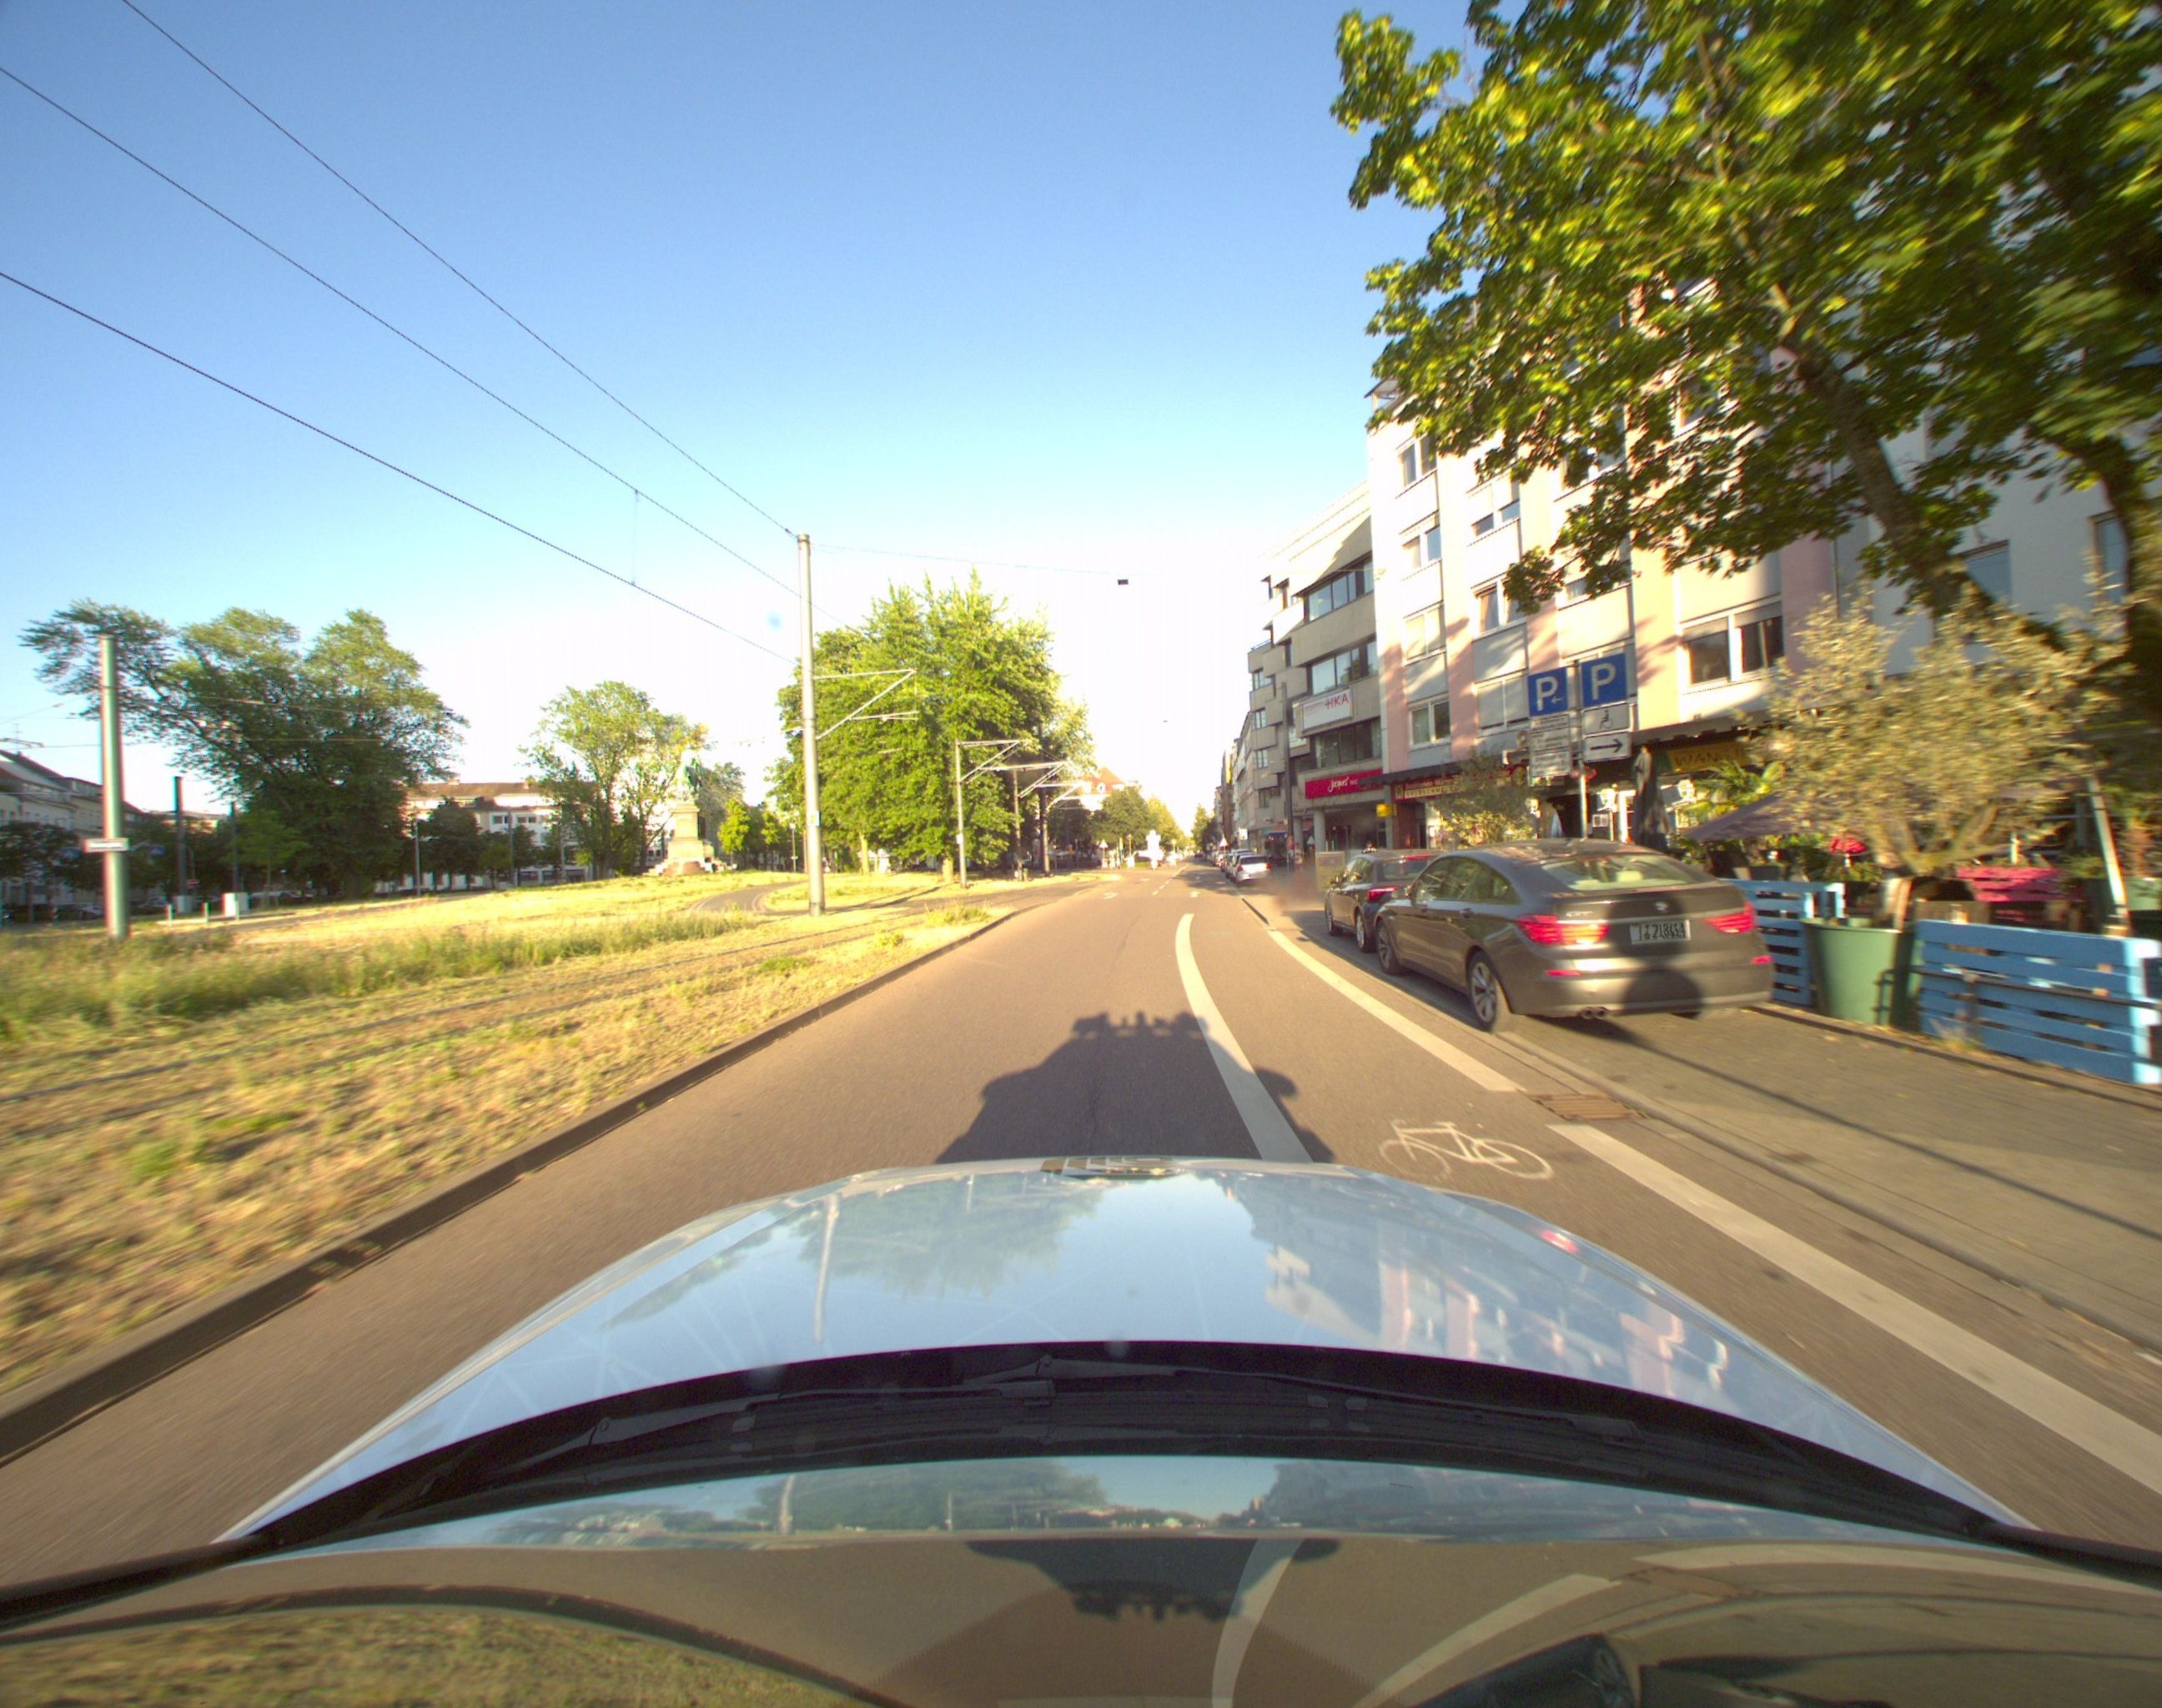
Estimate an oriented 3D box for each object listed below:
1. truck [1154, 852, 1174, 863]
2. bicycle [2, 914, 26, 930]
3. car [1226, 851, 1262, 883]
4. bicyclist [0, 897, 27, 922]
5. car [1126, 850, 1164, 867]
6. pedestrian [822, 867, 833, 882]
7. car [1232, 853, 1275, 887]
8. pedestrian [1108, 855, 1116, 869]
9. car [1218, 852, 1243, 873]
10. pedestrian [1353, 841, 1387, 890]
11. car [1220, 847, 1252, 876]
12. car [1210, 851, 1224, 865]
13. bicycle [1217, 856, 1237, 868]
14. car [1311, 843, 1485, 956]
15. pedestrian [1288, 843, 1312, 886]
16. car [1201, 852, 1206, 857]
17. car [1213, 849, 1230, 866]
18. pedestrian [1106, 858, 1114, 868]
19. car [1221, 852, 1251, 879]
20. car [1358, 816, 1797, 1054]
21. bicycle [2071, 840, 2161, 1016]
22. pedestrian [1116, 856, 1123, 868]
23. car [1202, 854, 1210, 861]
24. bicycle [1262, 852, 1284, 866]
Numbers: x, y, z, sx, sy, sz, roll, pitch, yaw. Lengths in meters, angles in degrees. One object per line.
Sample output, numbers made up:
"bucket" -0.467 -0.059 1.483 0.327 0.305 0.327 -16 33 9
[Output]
"truck" 20.919 0.830 205.421 4.914 2.615 2.004 -2 -1 7
"bicycle" -74.953 4.771 57.202 0.474 1.011 2.176 -1 0 -38
"car" 8.646 0.650 43.419 1.576 1.590 3.675 -1 0 7
"bicyclist" -75.028 3.873 57.237 0.958 1.691 0.888 -1 0 -38
"car" 8.637 0.589 109.641 4.612 2.251 2.189 -1 -1 -19
"pedestrian" -32.927 2.652 105.816 0.856 1.839 0.999 -1 2 8
"car" 8.076 0.732 38.349 1.774 1.456 4.011 -3 -1 10
"pedestrian" 3.582 0.896 94.436 0.701 1.559 0.688 -1 0 -29
"car" 11.506 0.609 62.922 1.779 1.507 3.931 -1 0 9
"pedestrian" 9.977 0.403 28.162 0.640 1.627 0.852 -4 1 -15
"car" 10.369 0.493 54.850 1.774 1.804 4.409 -1 0 7
"car" 18.166 0.537 108.742 1.700 1.835 4.317 -1 0 9
"bicycle" 14.238 0.793 79.255 1.770 0.990 0.545 -5 0 31
"car" 4.950 0.630 13.294 1.642 1.534 4.074 -1 0 7
"pedestrian" 9.444 0.452 35.176 0.640 1.786 0.852 -1 0 -15
"car" 32.181 0.182 213.678 1.200 1.300 2.665 -2 -1 5
"car" 15.699 0.437 91.134 1.782 1.792 4.101 -2 -1 8
"pedestrian" 3.961 1.209 110.820 0.751 1.277 0.655 -1 0 -29
"car" 9.389 0.665 49.516 1.631 1.528 4.010 -1 0 9
"car" 4.346 0.576 8.213 1.796 1.670 4.819 -1 0 5
"bicycle" 7.597 0.511 5.090 0.444 1.210 2.086 -1 0 6
"pedestrian" 4.522 0.974 94.602 0.566 1.364 0.608 -1 0 -29
"car" 27.926 0.820 181.698 1.569 1.543 3.402 -4 -1 5
"bicycle" 15.801 0.408 67.089 1.898 1.005 0.454 -4 -1 -31
